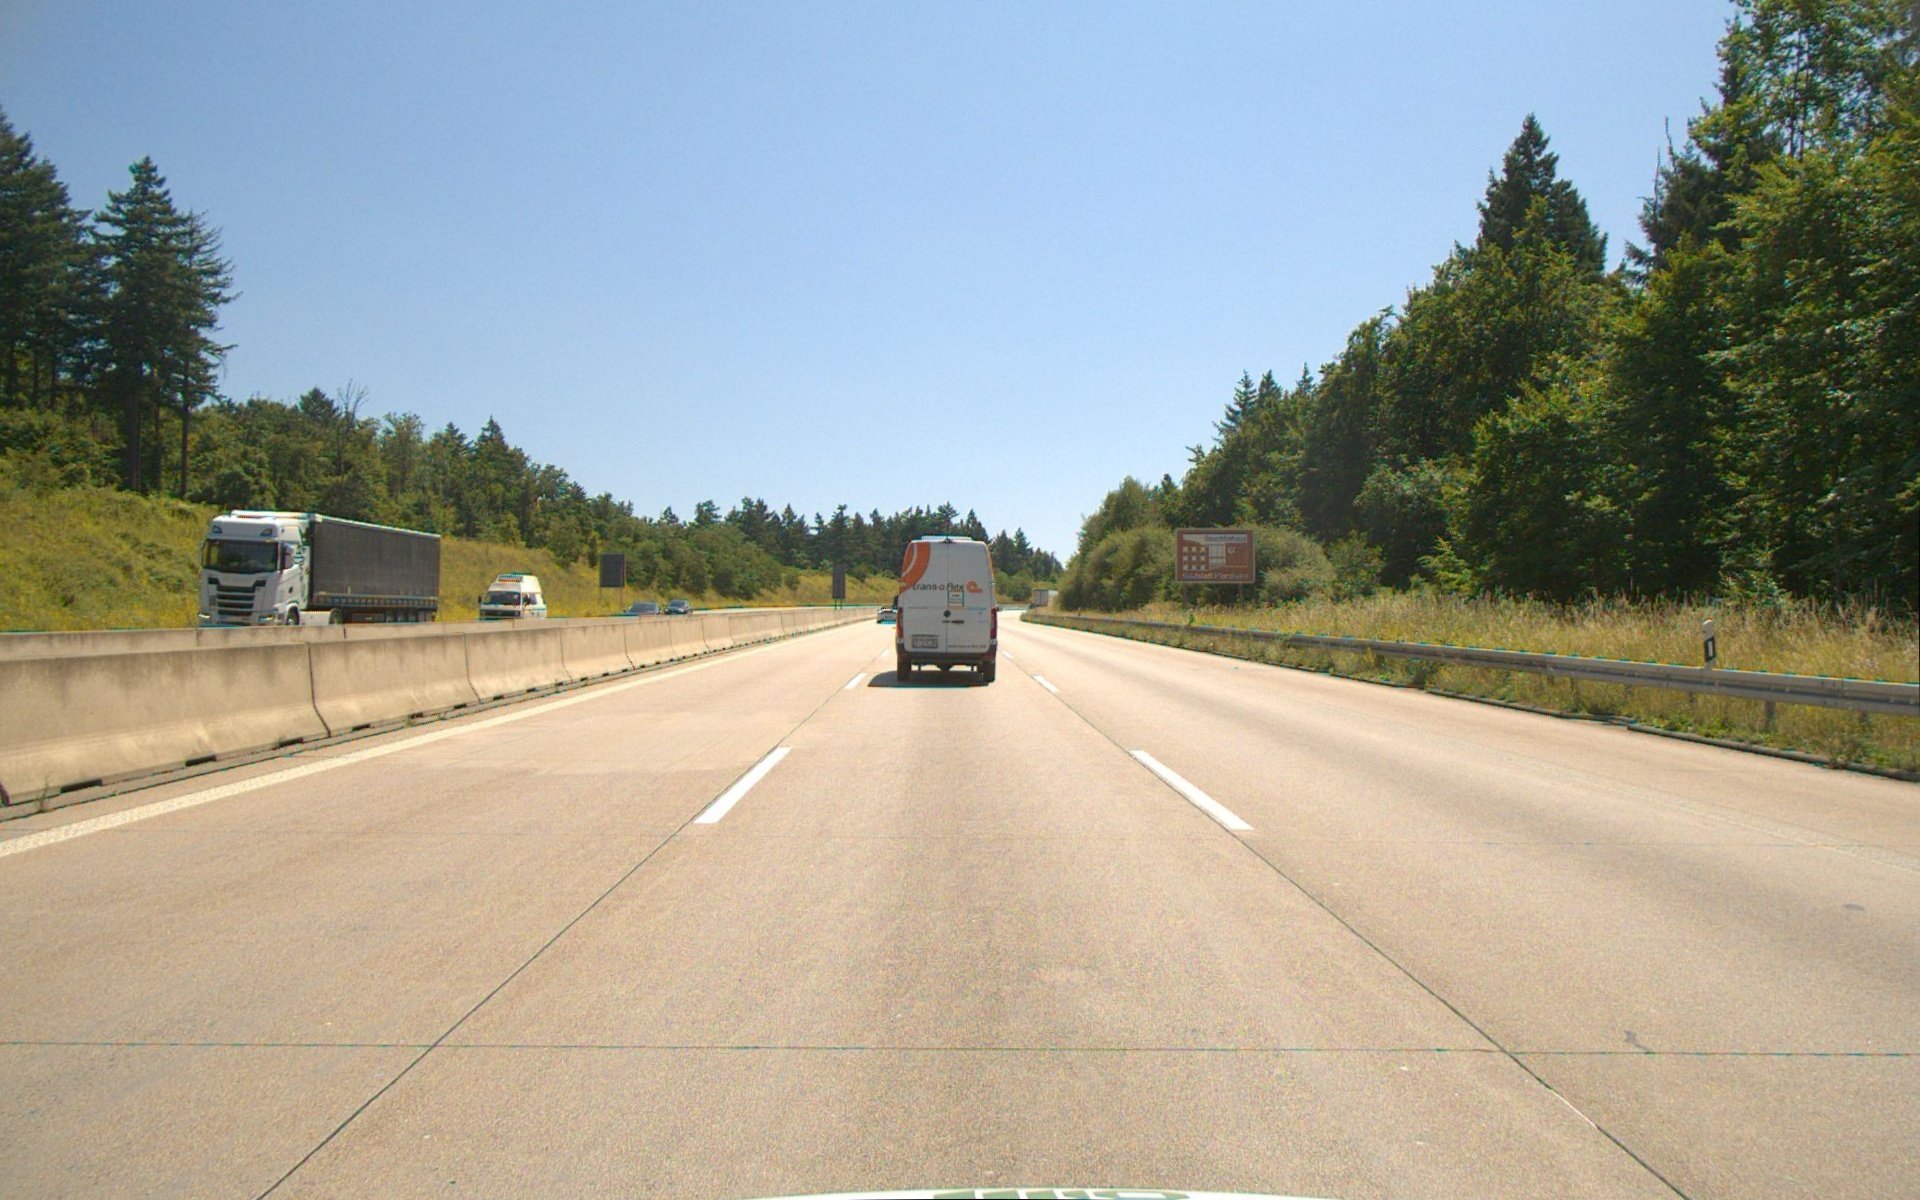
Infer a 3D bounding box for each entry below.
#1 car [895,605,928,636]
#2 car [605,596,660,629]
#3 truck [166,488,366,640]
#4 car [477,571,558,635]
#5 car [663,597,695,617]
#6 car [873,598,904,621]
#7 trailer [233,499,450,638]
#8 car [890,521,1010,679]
[{"bbox_3d":[-2.956,1.237,100.918,1.953,1.825,3.999,0,-1,-1],"label":"car"},{"bbox_3d":[-16.292,0.627,82.497,1.953,1.611,4.041,0,0,-1],"label":"car"},{"bbox_3d":[-22.452,-1.036,54.105,3.190,4.583,7.984,0,-1,-1],"label":"truck"},{"bbox_3d":[-18.291,0.102,68.557,1.953,2.529,5.178,1,0,0],"label":"car"},{"bbox_3d":[-22.800,0.579,134.216,1.953,1.611,4.041,0,-1,-1],"label":"car"},{"bbox_3d":[-5.424,0.745,125.237,1.952,1.713,4.001,0,-1,3],"label":"car"},{"bbox_3d":[-22.556,-0.975,61.462,3.190,4.583,13.117,0,-1,-1],"label":"trailer"},{"bbox_3d":[-0.242,-0.004,33.179,2.181,2.894,5.452,1,0,-1],"label":"car"}]
